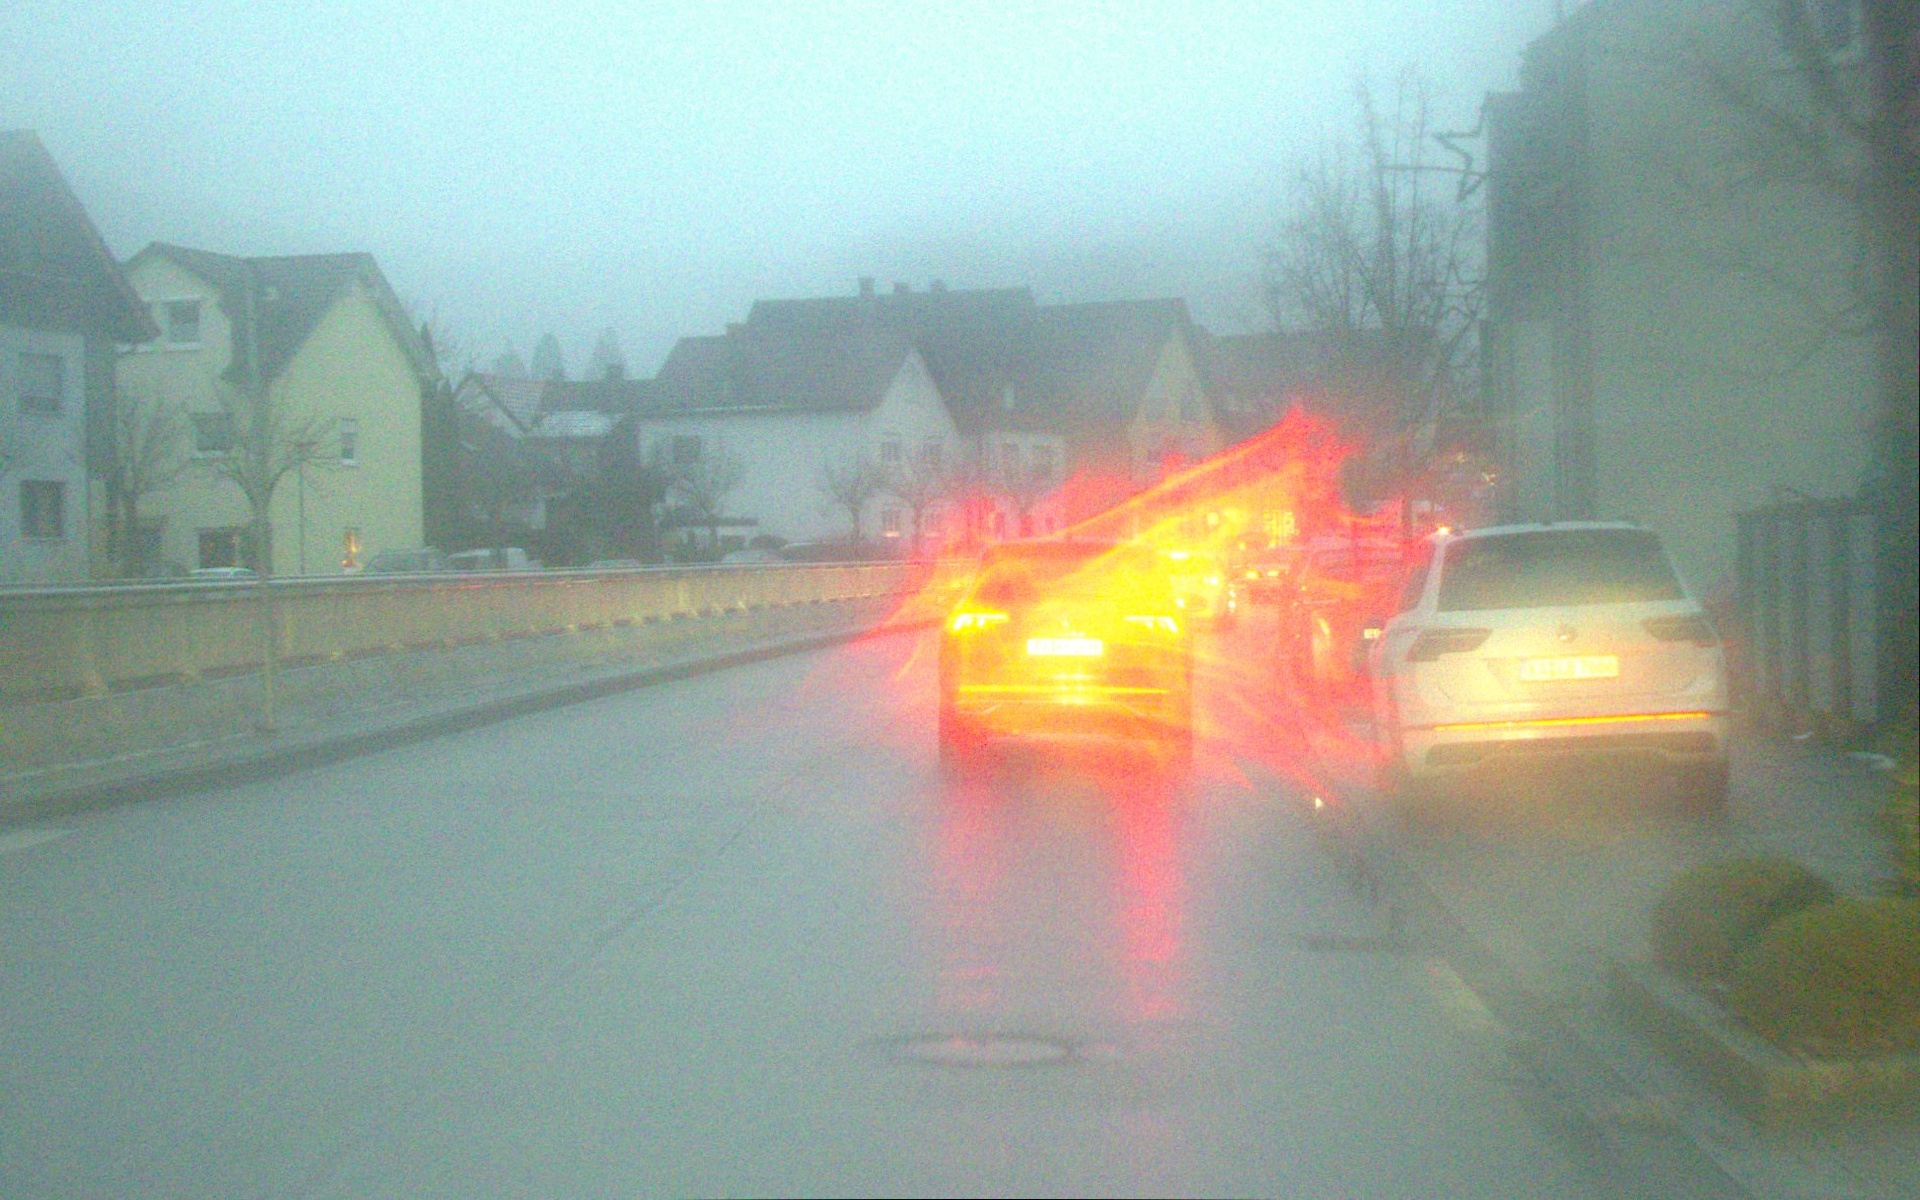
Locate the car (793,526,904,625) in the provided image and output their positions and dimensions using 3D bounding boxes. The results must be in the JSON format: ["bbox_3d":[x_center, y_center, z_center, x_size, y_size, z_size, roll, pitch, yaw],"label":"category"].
[{"bbox_3d":[-2.297,-0.491,71.880,1.994,2.007,3.999,0,0,3],"label":"car"}]

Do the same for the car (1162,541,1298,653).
[{"bbox_3d":[4.369,-0.073,55.177,1.994,1.674,3.999,1,1,7],"label":"car"}]

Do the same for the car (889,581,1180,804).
[{"bbox_3d":[0.631,0.624,25.523,1.994,1.520,4.000,0,0,4],"label":"car"}]

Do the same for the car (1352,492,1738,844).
[{"bbox_3d":[3.328,0.313,20.292,1.745,1.779,4.335,-3,1,4],"label":"car"}]

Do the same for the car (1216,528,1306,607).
[{"bbox_3d":[7.773,-0.816,88.628,1.994,2.007,3.998,0,0,10],"label":"car"}]

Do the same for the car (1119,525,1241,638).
[{"bbox_3d":[4.083,-0.322,63.267,1.994,2.007,3.999,0,0,7],"label":"car"}]

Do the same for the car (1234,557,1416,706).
[{"bbox_3d":[4.335,0.392,40.370,1.994,1.664,3.998,0,-1,8],"label":"car"}]
